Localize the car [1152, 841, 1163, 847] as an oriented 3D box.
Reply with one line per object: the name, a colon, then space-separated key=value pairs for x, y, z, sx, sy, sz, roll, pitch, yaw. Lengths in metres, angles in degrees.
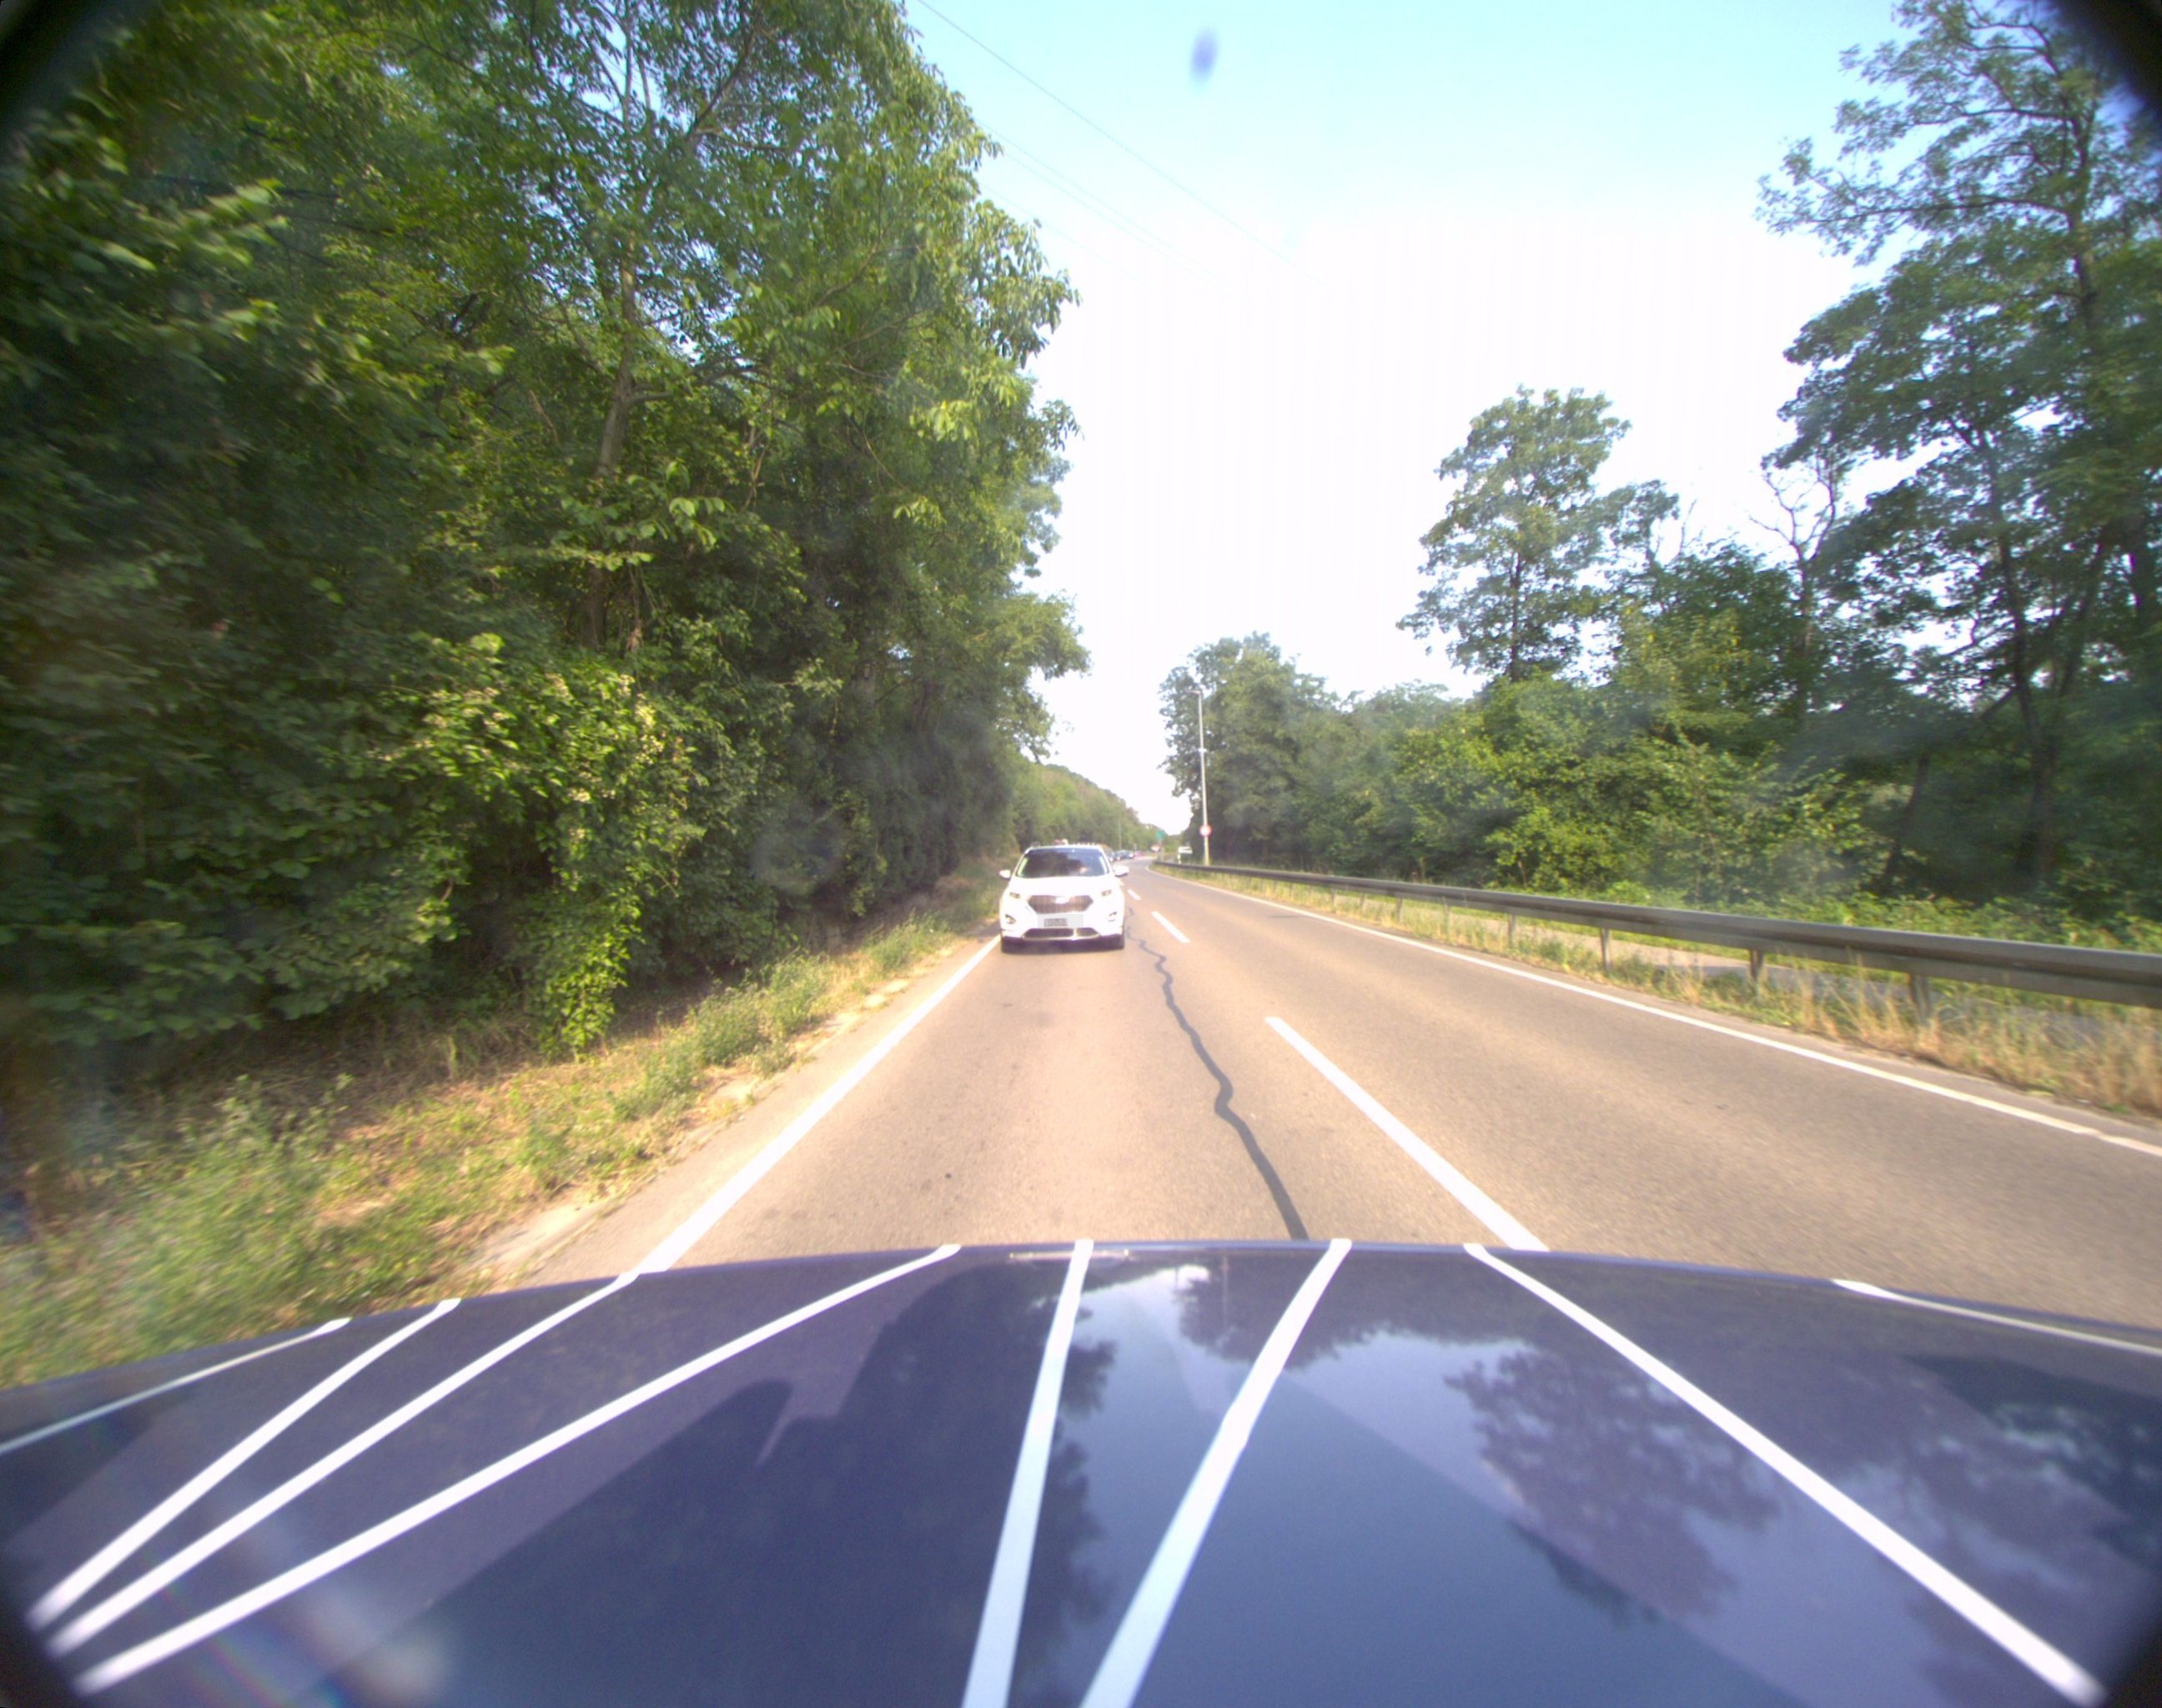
car: x=20.251 y=-2.664 z=200.696 sx=1.996 sy=1.697 sz=4.004 roll=-2 pitch=1 yaw=17

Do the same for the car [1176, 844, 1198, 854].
car: x=22.272 y=-1.008 z=159.419 sx=4.519 sy=2.002 sz=2.002 roll=-1 pitch=1 yaw=11

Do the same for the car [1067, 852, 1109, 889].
car: x=0.323 y=0.672 z=33.714 sx=1.704 sy=1.477 sz=4.136 roll=-2 pitch=0 yaw=1

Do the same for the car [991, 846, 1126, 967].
car: x=-0.297 y=0.744 z=12.980 sx=1.894 sy=1.691 sz=4.136 roll=-2 pitch=0 yaw=1

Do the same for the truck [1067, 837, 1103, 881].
truck: x=0.258 y=0.260 z=44.067 sx=1.894 sy=2.334 sz=5.273 roll=-2 pitch=0 yaw=1
